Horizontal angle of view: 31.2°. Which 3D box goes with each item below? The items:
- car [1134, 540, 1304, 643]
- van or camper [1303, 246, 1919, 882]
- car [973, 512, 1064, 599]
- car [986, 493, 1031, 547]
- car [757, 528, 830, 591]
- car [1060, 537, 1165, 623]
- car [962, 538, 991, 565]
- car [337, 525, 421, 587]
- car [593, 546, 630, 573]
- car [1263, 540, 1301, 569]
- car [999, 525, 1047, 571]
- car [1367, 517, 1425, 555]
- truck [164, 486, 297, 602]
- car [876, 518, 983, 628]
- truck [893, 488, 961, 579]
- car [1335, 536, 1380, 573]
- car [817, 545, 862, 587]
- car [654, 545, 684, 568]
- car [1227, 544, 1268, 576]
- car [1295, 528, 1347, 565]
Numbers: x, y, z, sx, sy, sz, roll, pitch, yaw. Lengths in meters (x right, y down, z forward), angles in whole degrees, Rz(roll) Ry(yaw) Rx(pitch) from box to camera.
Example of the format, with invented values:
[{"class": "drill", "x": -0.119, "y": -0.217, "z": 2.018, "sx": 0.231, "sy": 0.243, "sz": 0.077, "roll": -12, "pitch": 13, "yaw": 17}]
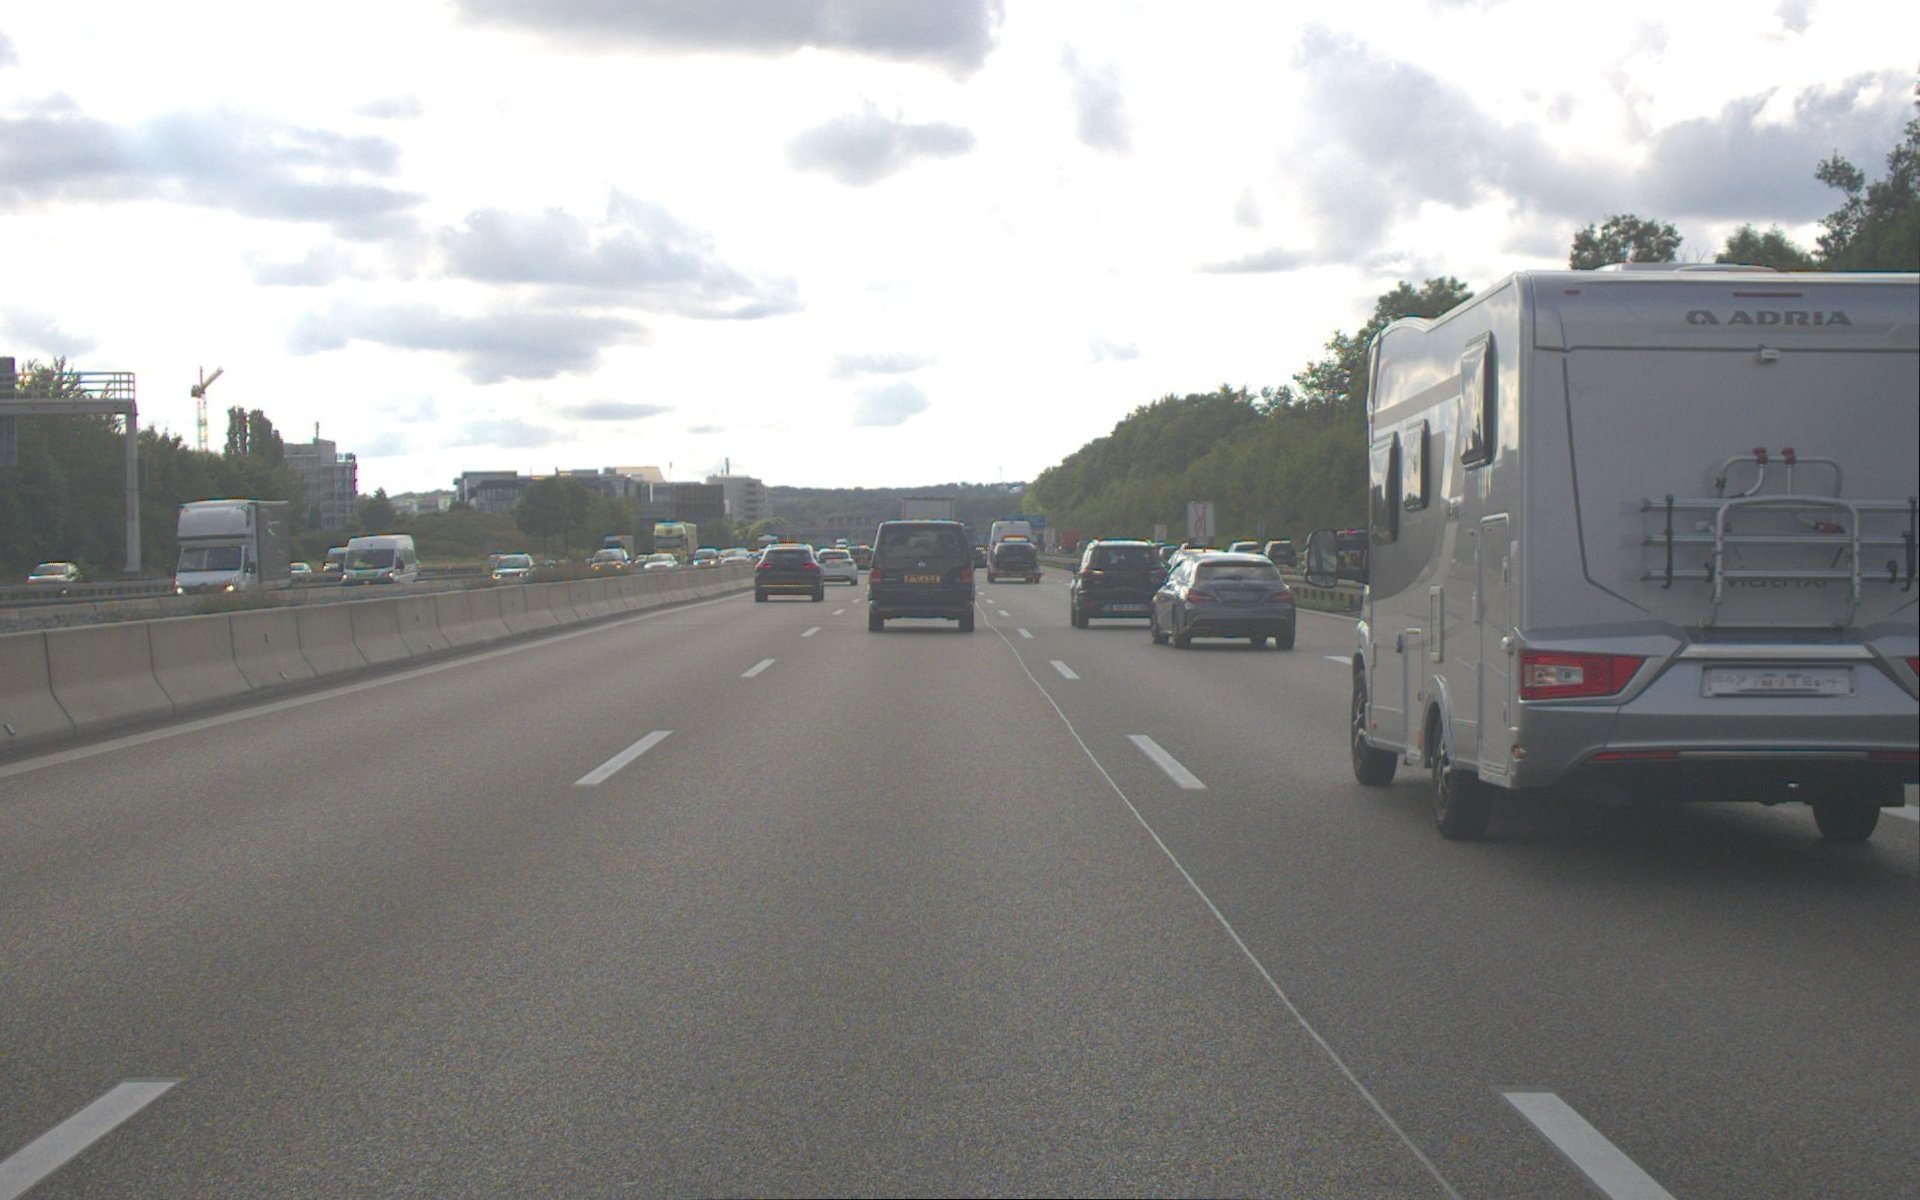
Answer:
[{"class": "car", "x": 3.860, "y": -0.164, "z": 51.903, "sx": 1.720, "sy": 1.474, "sz": 4.392, "roll": 0, "pitch": 1, "yaw": -7}, {"class": "van or camper", "x": 3.538, "y": -0.218, "z": 18.609, "sx": 2.468, "sy": 2.712, "sz": 7.662, "roll": 1, "pitch": 1, "yaw": -1}, {"class": "car", "x": 1.168, "y": -0.917, "z": 70.449, "sx": 1.720, "sy": 1.718, "sz": 4.392, "roll": 0, "pitch": 1, "yaw": -1}, {"class": "car", "x": 2.118, "y": -3.524, "z": 151.917, "sx": 1.873, "sy": 2.349, "sz": 4.282, "roll": 0, "pitch": 1, "yaw": -1}, {"class": "car", "x": -4.616, "y": -1.122, "z": 95.546, "sx": 1.873, "sy": 1.692, "sz": 4.072, "roll": 0, "pitch": 1, "yaw": -1}, {"class": "car", "x": 2.832, "y": -0.400, "z": 64.716, "sx": 1.697, "sy": 1.559, "sz": 4.114, "roll": 0, "pitch": 1, "yaw": -1}, {"class": "car", "x": 1.026, "y": -3.035, "z": 214.254, "sx": 1.752, "sy": 1.689, "sz": 4.190, "roll": 0, "pitch": 1, "yaw": -1}, {"class": "car", "x": -21.839, "y": -1.670, "z": 129.428, "sx": 2.164, "sy": 2.263, "sz": 6.462, "roll": -1, "pitch": 1, "yaw": -1}, {"class": "car", "x": -18.181, "y": -2.135, "z": 179.503, "sx": 1.563, "sy": 1.360, "sz": 4.052, "roll": -1, "pitch": 1, "yaw": -1}, {"class": "car", "x": 18.553, "y": -2.621, "z": 198.166, "sx": 1.752, "sy": 1.689, "sz": 4.190, "roll": 0, "pitch": 1, "yaw": -1}, {"class": "car", "x": 2.650, "y": -2.189, "z": 144.979, "sx": 1.913, "sy": 1.912, "sz": 4.031, "roll": 0, "pitch": 1, "yaw": -1}, {"class": "car", "x": 18.541, "y": -2.722, "z": 146.266, "sx": 1.728, "sy": 1.540, "sz": 4.306, "roll": -2, "pitch": 1, "yaw": -2}, {"class": "truck", "x": -21.515, "y": -1.660, "z": 101.739, "sx": 2.353, "sy": 3.252, "sz": 7.826, "roll": -1, "pitch": 1, "yaw": -1}, {"class": "car", "x": -0.553, "y": -0.504, "z": 61.440, "sx": 1.855, "sy": 1.904, "sz": 4.260, "roll": 0, "pitch": 1, "yaw": -1}, {"class": "truck", "x": -1.638, "y": -3.317, "z": 172.646, "sx": 3.263, "sy": 4.360, "sz": 11.027, "roll": 1, "pitch": 1, "yaw": -1}, {"class": "car", "x": 19.512, "y": -2.251, "z": 168.856, "sx": 1.595, "sy": 1.798, "sz": 3.825, "roll": 0, "pitch": 1, "yaw": -2}, {"class": "car", "x": -4.720, "y": -1.359, "z": 134.629, "sx": 1.697, "sy": 1.605, "sz": 4.114, "roll": 0, "pitch": 1, "yaw": -1}, {"class": "car", "x": -17.986, "y": -2.698, "z": 212.243, "sx": 1.563, "sy": 1.360, "sz": 4.052, "roll": -1, "pitch": 1, "yaw": -1}, {"class": "car", "x": 15.184, "y": -2.123, "z": 181.709, "sx": 1.752, "sy": 1.689, "sz": 4.190, "roll": 0, "pitch": 1, "yaw": -1}, {"class": "car", "x": 15.147, "y": -2.238, "z": 144.379, "sx": 1.595, "sy": 1.540, "sz": 4.191, "roll": 0, "pitch": 1, "yaw": -2}]
